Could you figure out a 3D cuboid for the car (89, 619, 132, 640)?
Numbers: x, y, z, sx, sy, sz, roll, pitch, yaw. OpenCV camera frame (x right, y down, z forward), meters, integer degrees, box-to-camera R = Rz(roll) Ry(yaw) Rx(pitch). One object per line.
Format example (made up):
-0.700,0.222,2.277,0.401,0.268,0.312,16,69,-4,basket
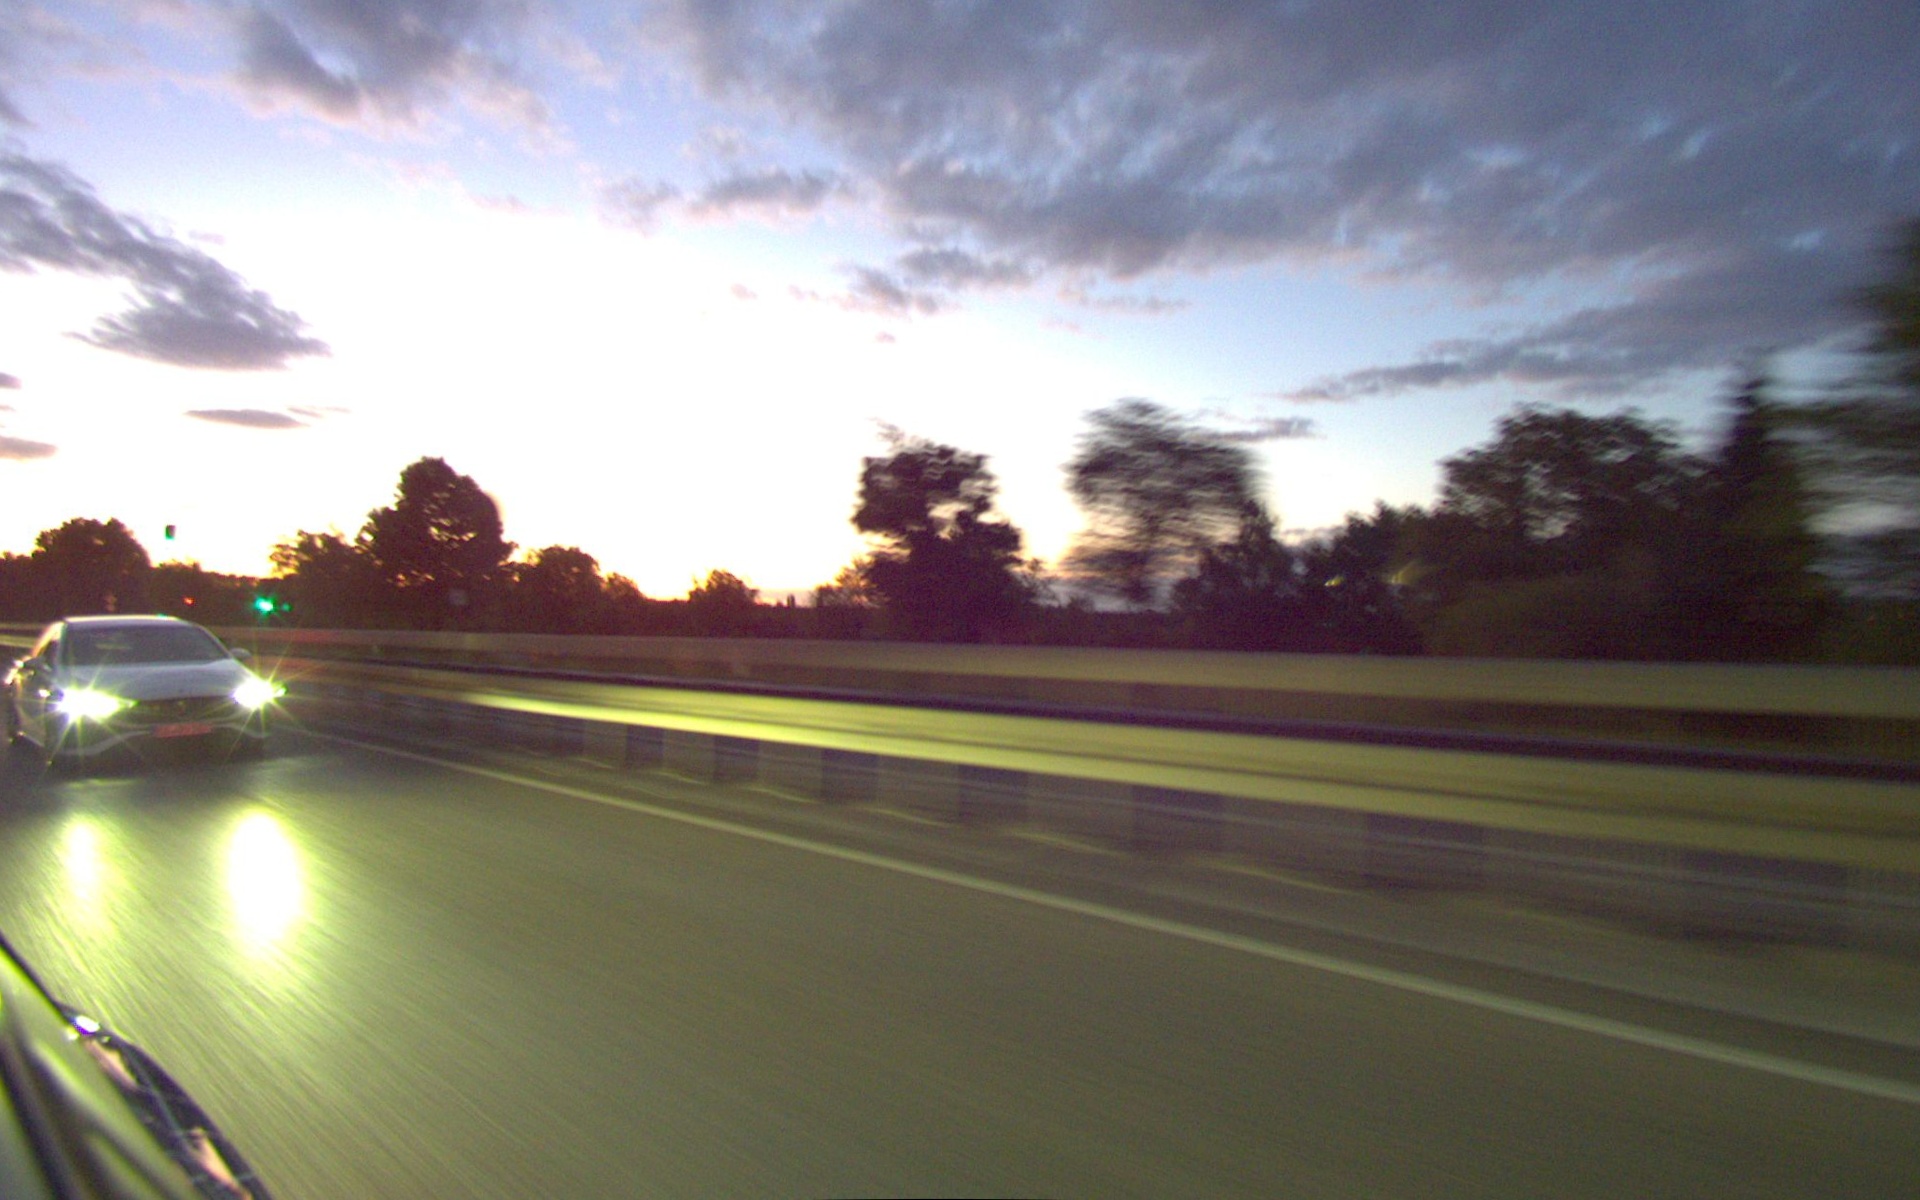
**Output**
-60.046,2.063,71.499,4.027,1.395,1.635,0,0,40,car

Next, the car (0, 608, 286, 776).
-9.244,0.885,11.216,4.644,1.447,1.796,-2,0,41,car
